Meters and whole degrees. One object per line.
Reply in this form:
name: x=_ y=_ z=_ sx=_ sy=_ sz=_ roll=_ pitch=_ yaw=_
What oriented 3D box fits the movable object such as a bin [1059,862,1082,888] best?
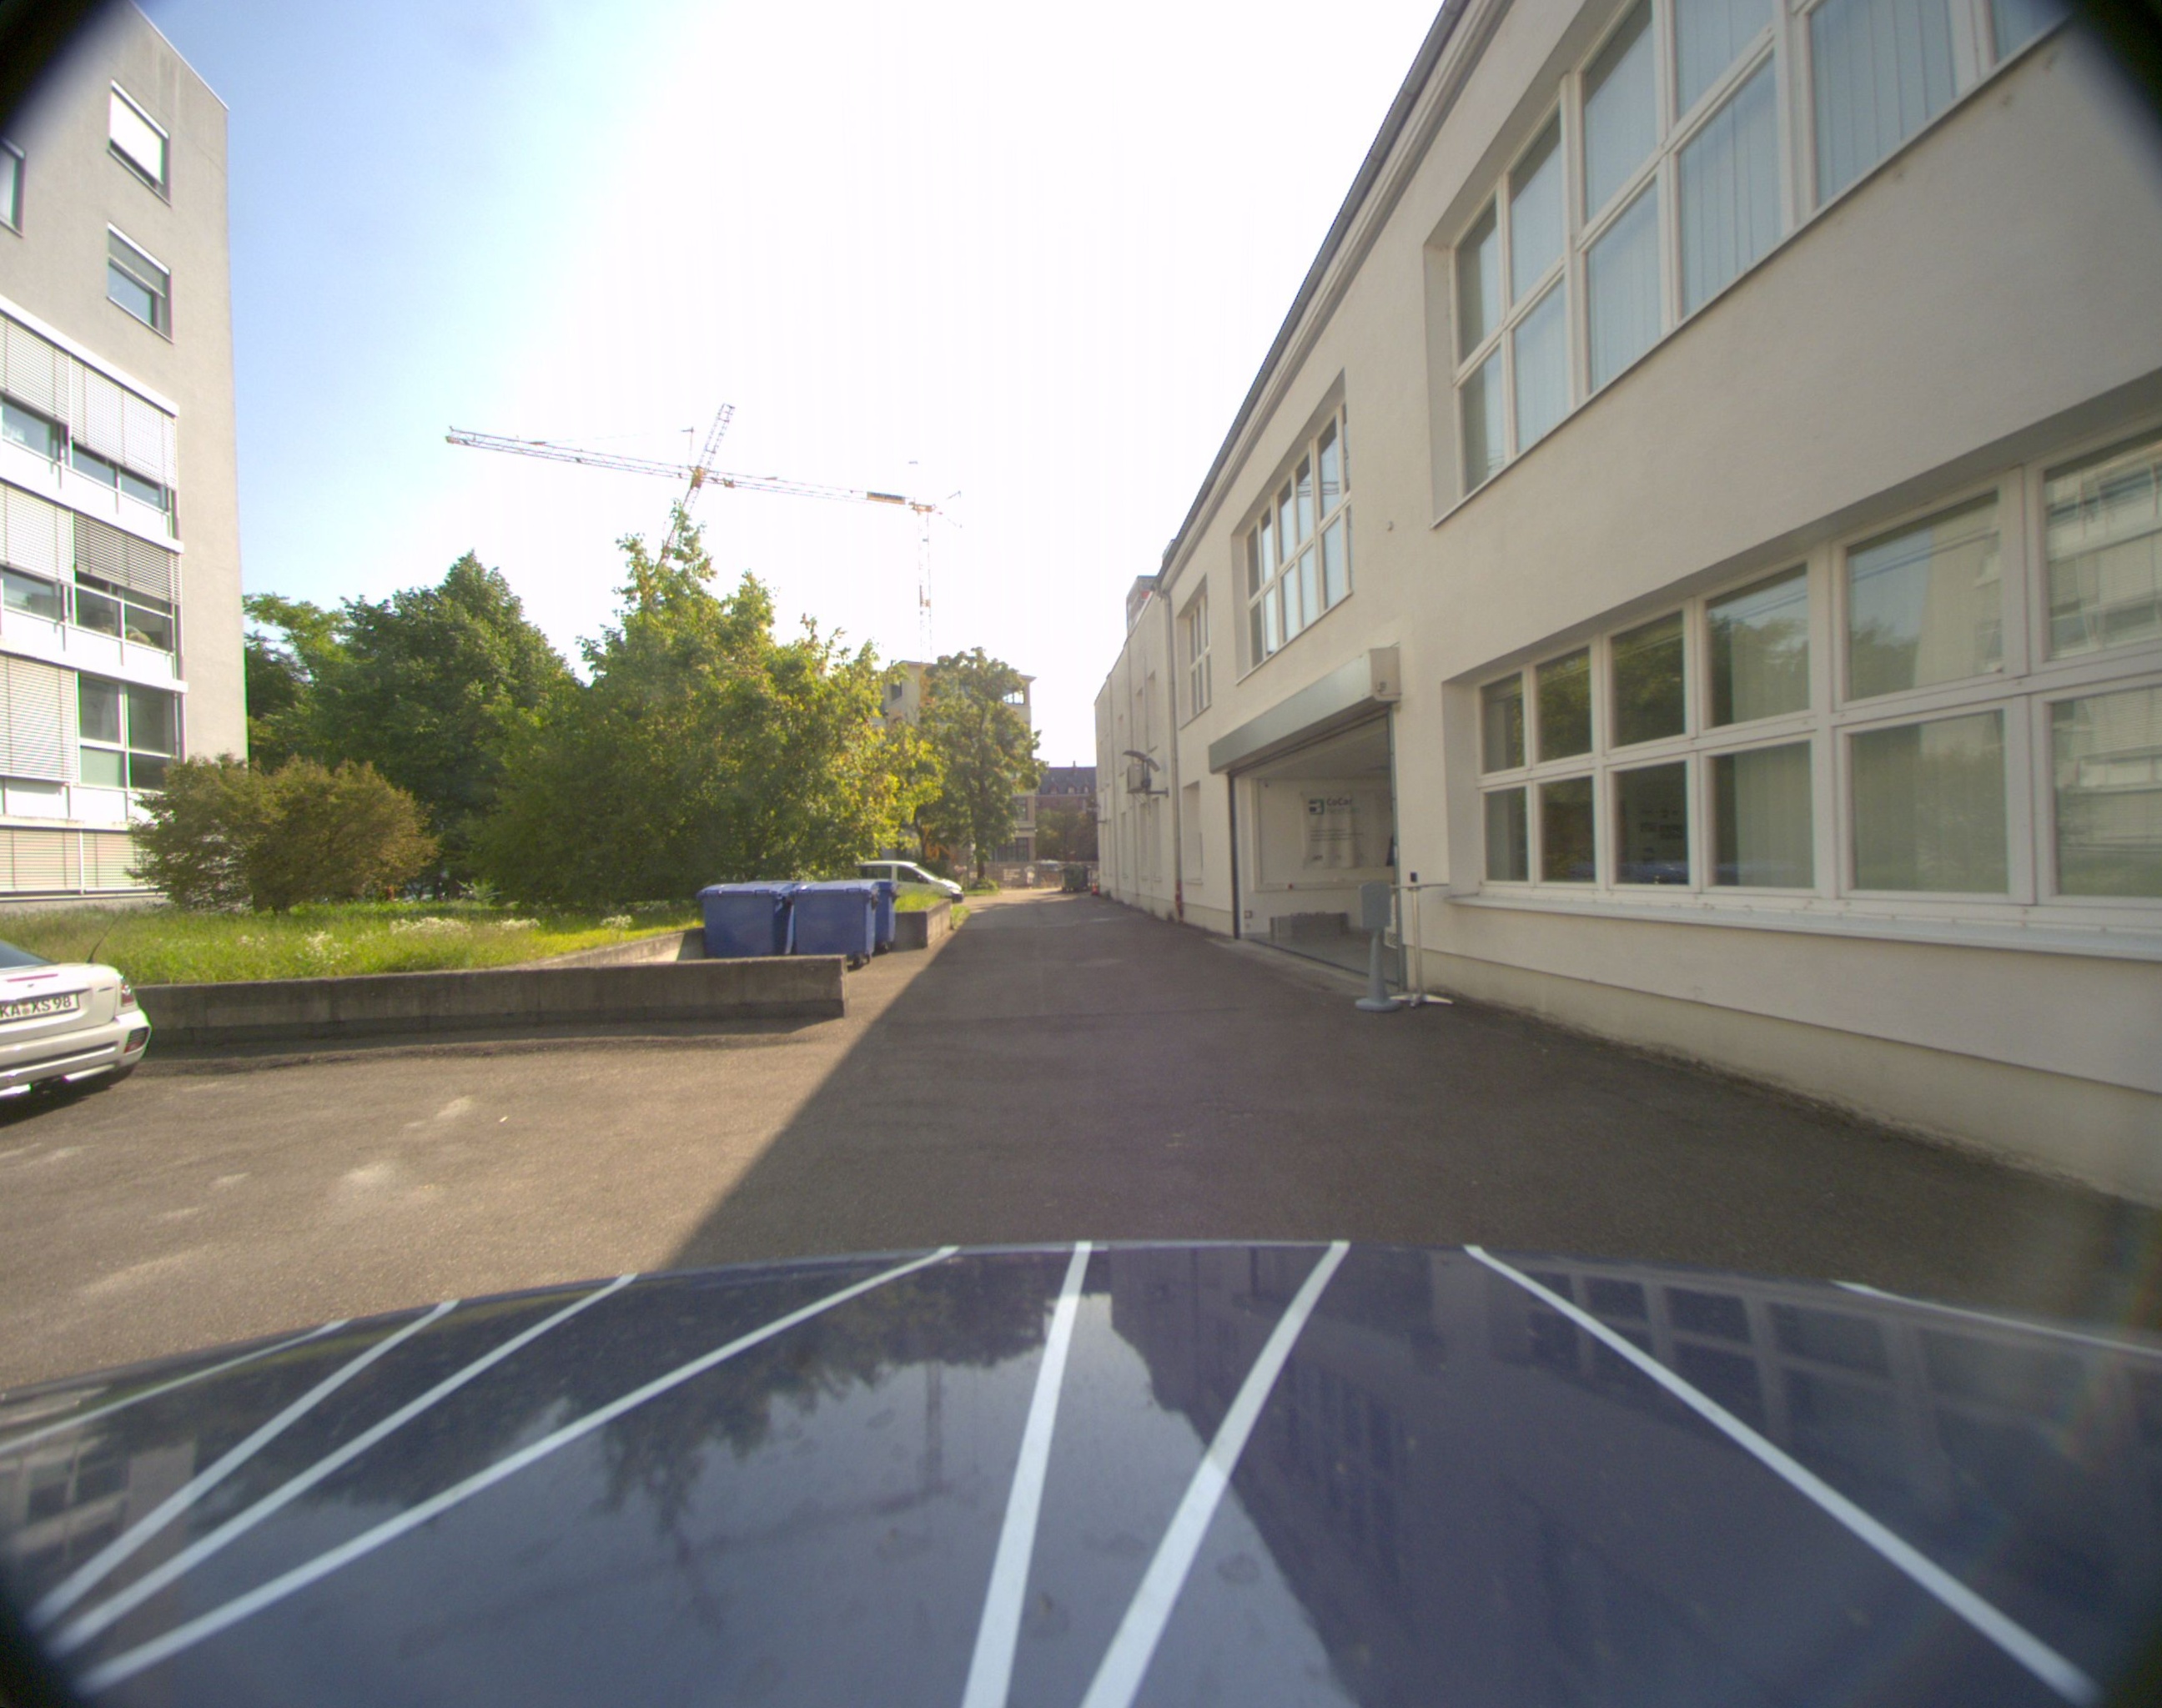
movable object such as a bin: x=-0.638 y=1.231 z=44.956 sx=1.037 sy=1.489 sz=1.106 roll=-2 pitch=1 yaw=-16

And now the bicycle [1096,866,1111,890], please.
bicycle: x=1.174 y=1.277 z=40.625 sx=0.477 sy=1.206 sz=2.007 roll=-2 pitch=0 yaw=-7

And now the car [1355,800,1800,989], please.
car: x=6.506 y=0.475 z=10.311 sx=4.761 sy=2.080 sz=2.054 roll=-3 pitch=1 yaw=-5

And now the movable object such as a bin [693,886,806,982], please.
movable object such as a bin: x=-5.150 y=1.220 z=11.906 sx=1.238 sy=1.332 sz=1.117 roll=-2 pitch=1 yaw=-2

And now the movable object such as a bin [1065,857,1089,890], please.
movable object such as a bin: x=-0.227 y=1.012 z=40.772 sx=1.184 sy=1.696 sz=1.394 roll=-2 pitch=1 yaw=-1

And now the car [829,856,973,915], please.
car: x=-6.740 y=1.154 z=28.939 sx=4.971 sy=1.910 sz=2.043 roll=-3 pitch=1 yaw=-3

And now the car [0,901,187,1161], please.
car: x=-8.610 y=1.099 z=4.737 sx=3.630 sy=1.536 sz=1.801 roll=2 pitch=0 yaw=-7

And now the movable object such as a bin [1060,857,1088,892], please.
movable object such as a bin: x=-0.382 y=1.024 z=38.951 sx=1.184 sy=1.696 sz=1.376 roll=-2 pitch=1 yaw=-9

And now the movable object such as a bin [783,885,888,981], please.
movable object such as a bin: x=-3.821 y=1.209 z=11.982 sx=1.304 sy=1.332 sz=1.194 roll=-2 pitch=1 yaw=-6

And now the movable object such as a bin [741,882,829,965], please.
movable object such as a bin: x=-5.270 y=1.210 z=13.619 sx=1.230 sy=1.332 sz=1.076 roll=-2 pitch=1 yaw=-10

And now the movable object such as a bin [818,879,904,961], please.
movable object such as a bin: x=-3.940 y=1.162 z=13.729 sx=1.313 sy=1.332 sz=1.099 roll=-2 pitch=1 yaw=-8

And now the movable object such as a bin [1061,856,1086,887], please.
movable object such as a bin: x=-0.465 y=1.011 z=43.567 sx=1.184 sy=1.696 sz=1.376 roll=-2 pitch=1 yaw=-9

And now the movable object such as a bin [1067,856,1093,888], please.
movable object such as a bin: x=-0.073 y=1.002 z=42.200 sx=1.184 sy=1.696 sz=1.376 roll=-2 pitch=1 yaw=-9
